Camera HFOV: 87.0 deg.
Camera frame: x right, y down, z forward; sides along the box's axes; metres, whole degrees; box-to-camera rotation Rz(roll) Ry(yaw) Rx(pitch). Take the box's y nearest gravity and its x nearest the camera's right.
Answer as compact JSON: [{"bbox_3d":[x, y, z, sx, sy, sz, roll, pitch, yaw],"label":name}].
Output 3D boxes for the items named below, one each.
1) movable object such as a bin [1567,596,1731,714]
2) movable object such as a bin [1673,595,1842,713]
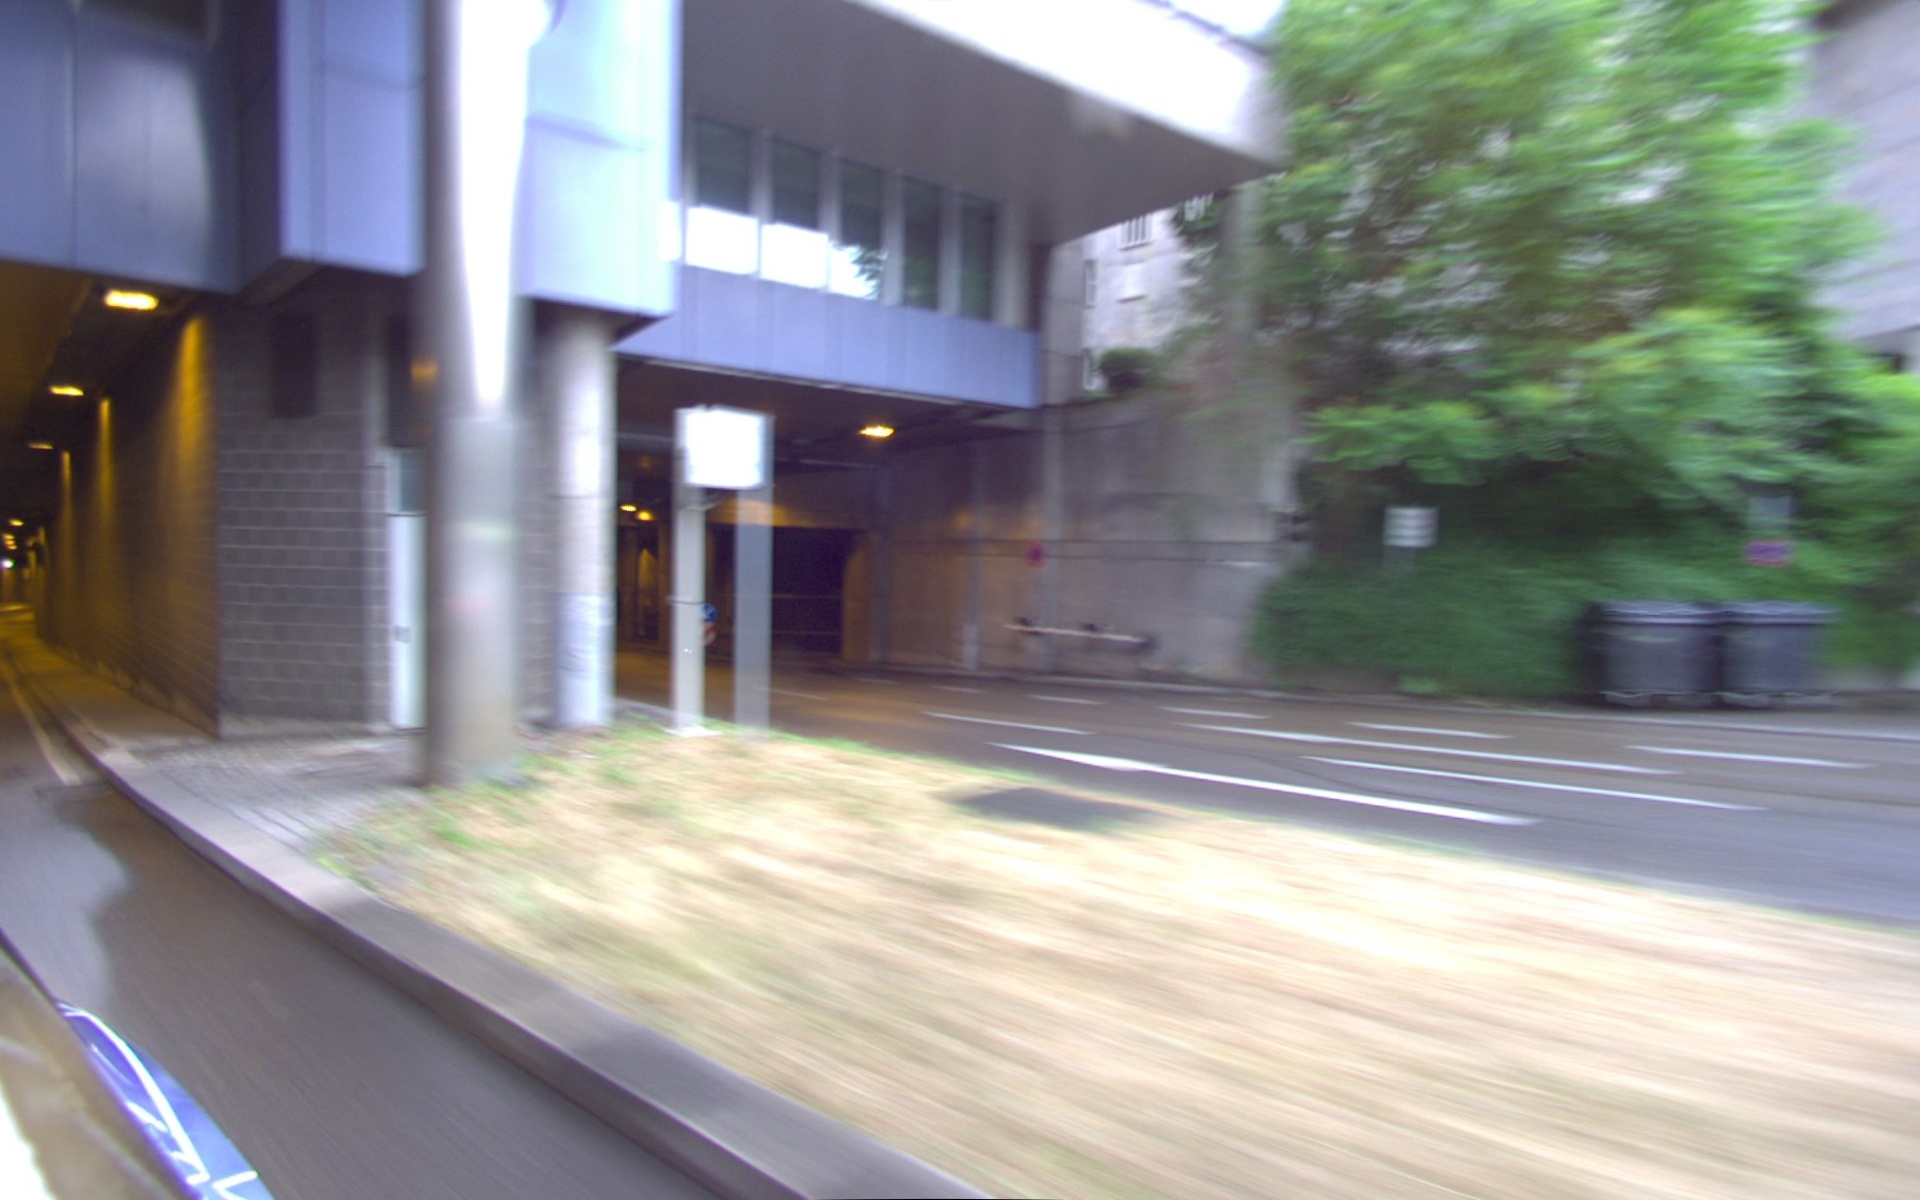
[{"bbox_3d":[9.105,0.695,13.432,1.319,1.461,1.169,0,1,-7],"label":"movable object such as a bin"},{"bbox_3d":[10.546,0.684,13.449,1.191,1.461,1.296,0,1,1],"label":"movable object such as a bin"}]
